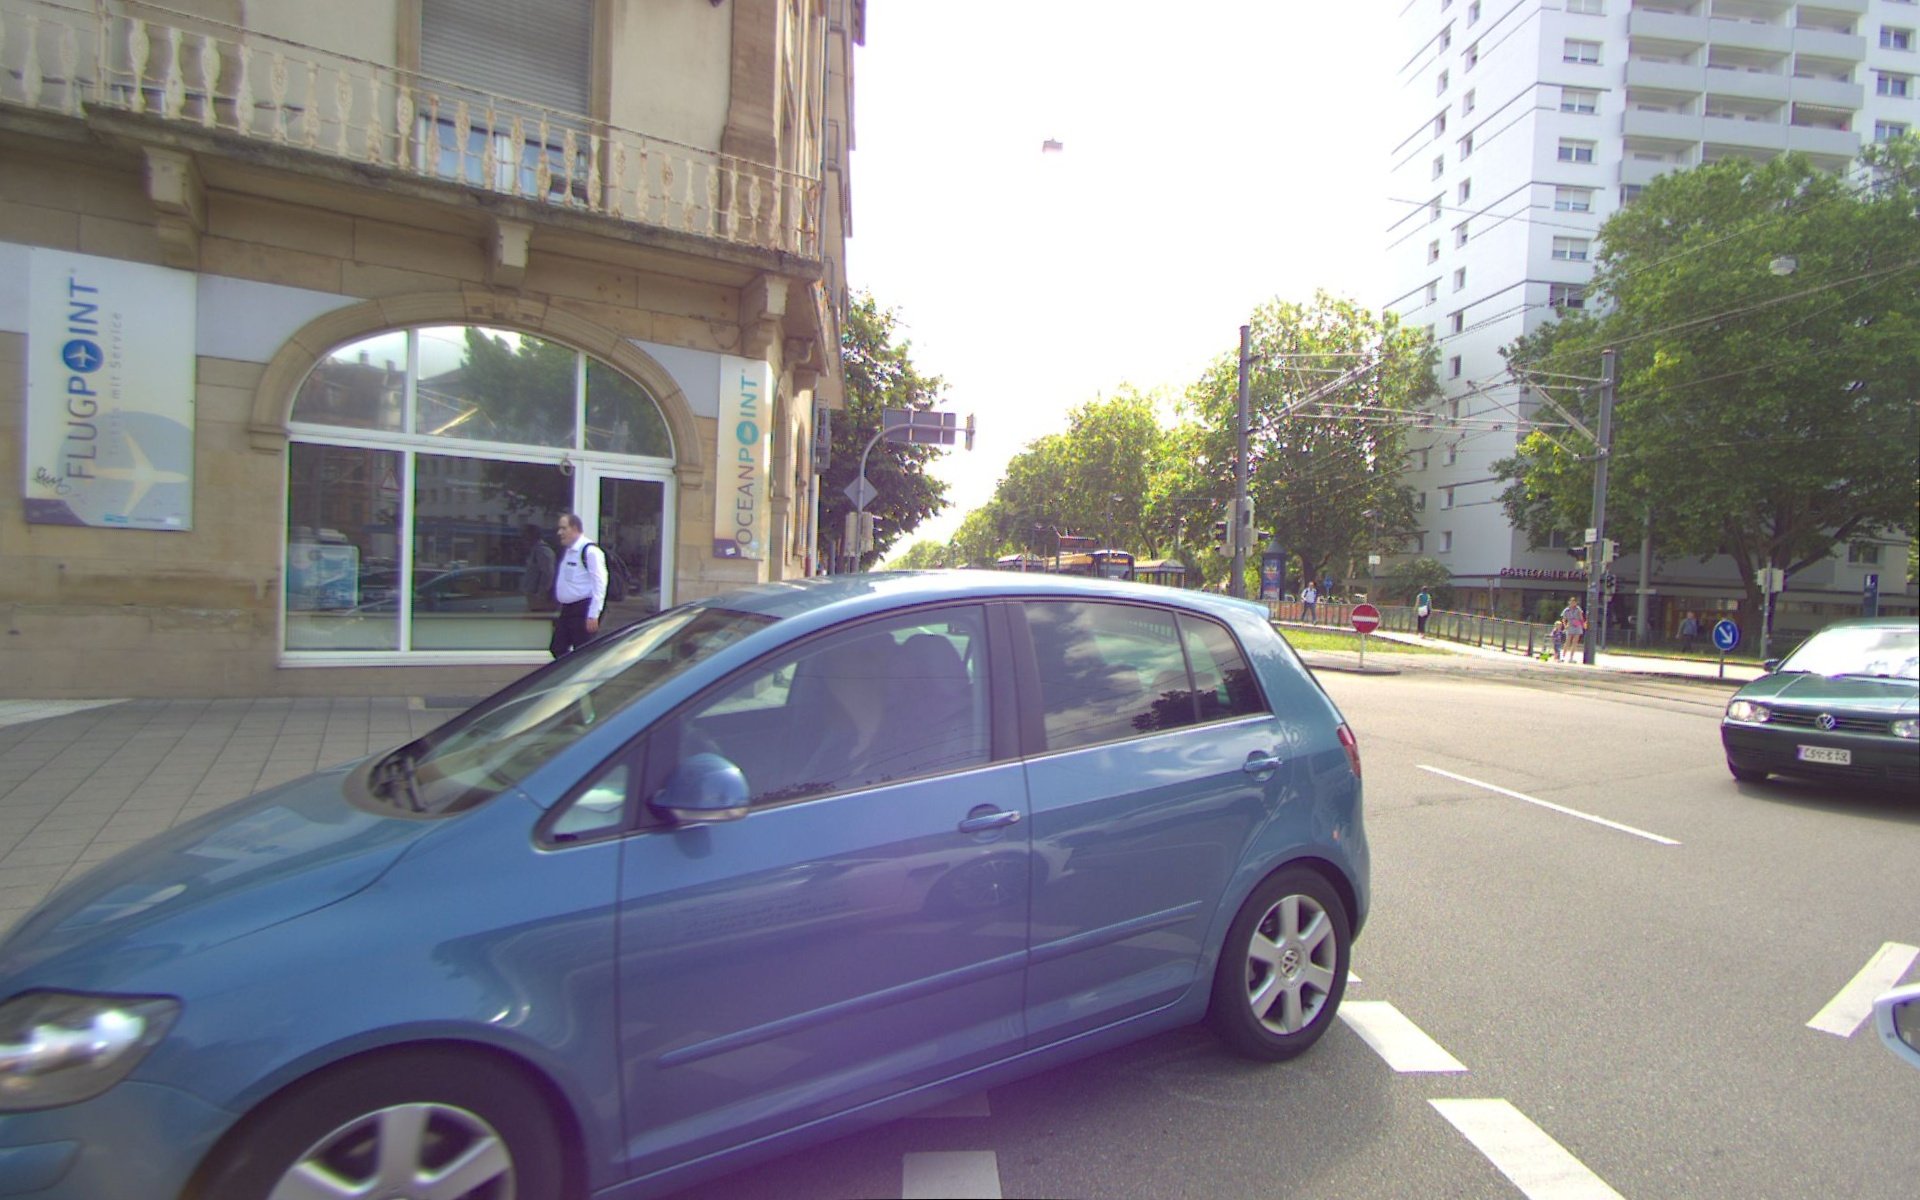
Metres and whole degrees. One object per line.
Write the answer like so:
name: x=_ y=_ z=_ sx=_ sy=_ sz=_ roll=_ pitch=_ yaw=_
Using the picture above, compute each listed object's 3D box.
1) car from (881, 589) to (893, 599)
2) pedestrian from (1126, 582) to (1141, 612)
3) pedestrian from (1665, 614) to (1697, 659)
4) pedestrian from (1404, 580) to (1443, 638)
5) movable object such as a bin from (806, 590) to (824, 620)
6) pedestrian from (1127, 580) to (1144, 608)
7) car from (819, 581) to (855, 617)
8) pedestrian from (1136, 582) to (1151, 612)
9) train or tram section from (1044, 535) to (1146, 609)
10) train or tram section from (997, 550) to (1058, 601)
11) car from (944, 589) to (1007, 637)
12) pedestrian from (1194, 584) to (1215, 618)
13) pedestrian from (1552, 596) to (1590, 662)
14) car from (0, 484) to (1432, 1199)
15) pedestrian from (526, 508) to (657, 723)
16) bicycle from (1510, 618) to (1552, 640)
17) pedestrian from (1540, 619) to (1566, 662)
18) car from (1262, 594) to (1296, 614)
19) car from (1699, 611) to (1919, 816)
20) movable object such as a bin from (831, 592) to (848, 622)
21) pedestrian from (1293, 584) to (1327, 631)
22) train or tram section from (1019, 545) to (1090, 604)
car: x=-11.210 y=-0.916 z=153.757 sx=1.629 sy=1.390 sz=3.473 roll=2 pitch=1 yaw=-6
pedestrian: x=11.245 y=-0.192 z=65.078 sx=0.690 sy=1.874 sz=0.907 roll=2 pitch=1 yaw=-6
pedestrian: x=27.348 y=1.373 z=38.085 sx=0.525 sy=1.620 sz=0.783 roll=2 pitch=1 yaw=-8
pedestrian: x=15.792 y=0.301 z=34.242 sx=0.814 sy=1.924 sz=0.845 roll=2 pitch=1 yaw=-6
movable object such as a bin: x=-5.675 y=0.185 z=39.323 sx=0.639 sy=1.133 sz=0.786 roll=2 pitch=1 yaw=-11
pedestrian: x=12.158 y=-0.428 z=69.520 sx=0.798 sy=1.898 sz=1.030 roll=2 pitch=1 yaw=-6
car: x=-5.947 y=-0.079 z=48.565 sx=1.628 sy=1.600 sz=3.472 roll=2 pitch=1 yaw=-8
pedestrian: x=11.946 y=-0.188 z=65.255 sx=0.690 sy=1.874 sz=0.788 roll=2 pitch=1 yaw=-6
train or tram section: x=7.371 y=-1.535 z=57.374 sx=2.763 sy=3.632 sz=13.003 roll=3 pitch=1 yaw=-6
train or tram section: x=5.203 y=-1.932 z=80.677 sx=2.681 sy=3.632 sz=13.003 roll=3 pitch=1 yaw=-6
car: x=0.468 y=0.389 z=33.902 sx=1.608 sy=1.458 sz=3.639 roll=2 pitch=1 yaw=-7
pedestrian: x=13.612 y=0.051 z=55.960 sx=0.844 sy=1.798 sz=0.876 roll=2 pitch=1 yaw=-6
pedestrian: x=16.183 y=0.760 z=26.622 sx=0.613 sy=1.688 sz=0.676 roll=2 pitch=1 yaw=13
car: x=-0.441 y=0.654 z=3.215 sx=3.889 sy=1.561 sz=1.737 roll=2 pitch=-1 yaw=-32
pedestrian: x=-3.460 y=0.144 z=9.402 sx=0.895 sy=1.884 sz=0.798 roll=5 pitch=1 yaw=-30
bicycle: x=28.234 y=1.428 z=49.650 sx=1.695 sy=1.023 sz=0.534 roll=3 pitch=1 yaw=22
pedestrian: x=15.663 y=1.067 z=26.533 sx=0.412 sy=1.077 sz=0.437 roll=3 pitch=1 yaw=13
car: x=32.359 y=0.383 z=101.963 sx=1.778 sy=1.839 sz=4.336 roll=2 pitch=1 yaw=-4
car: x=8.202 y=0.856 z=8.706 sx=3.777 sy=1.452 sz=1.703 roll=1 pitch=0 yaw=-34
movable object such as a bin: x=-4.731 y=0.264 z=39.498 sx=0.582 sy=1.133 sz=0.786 roll=2 pitch=1 yaw=-11
pedestrian: x=13.989 y=0.283 z=40.154 sx=0.835 sy=1.804 sz=1.044 roll=2 pitch=1 yaw=-5
train or tram section: x=6.311 y=-1.715 z=69.027 sx=2.752 sy=3.632 sz=10.393 roll=3 pitch=1 yaw=-6
